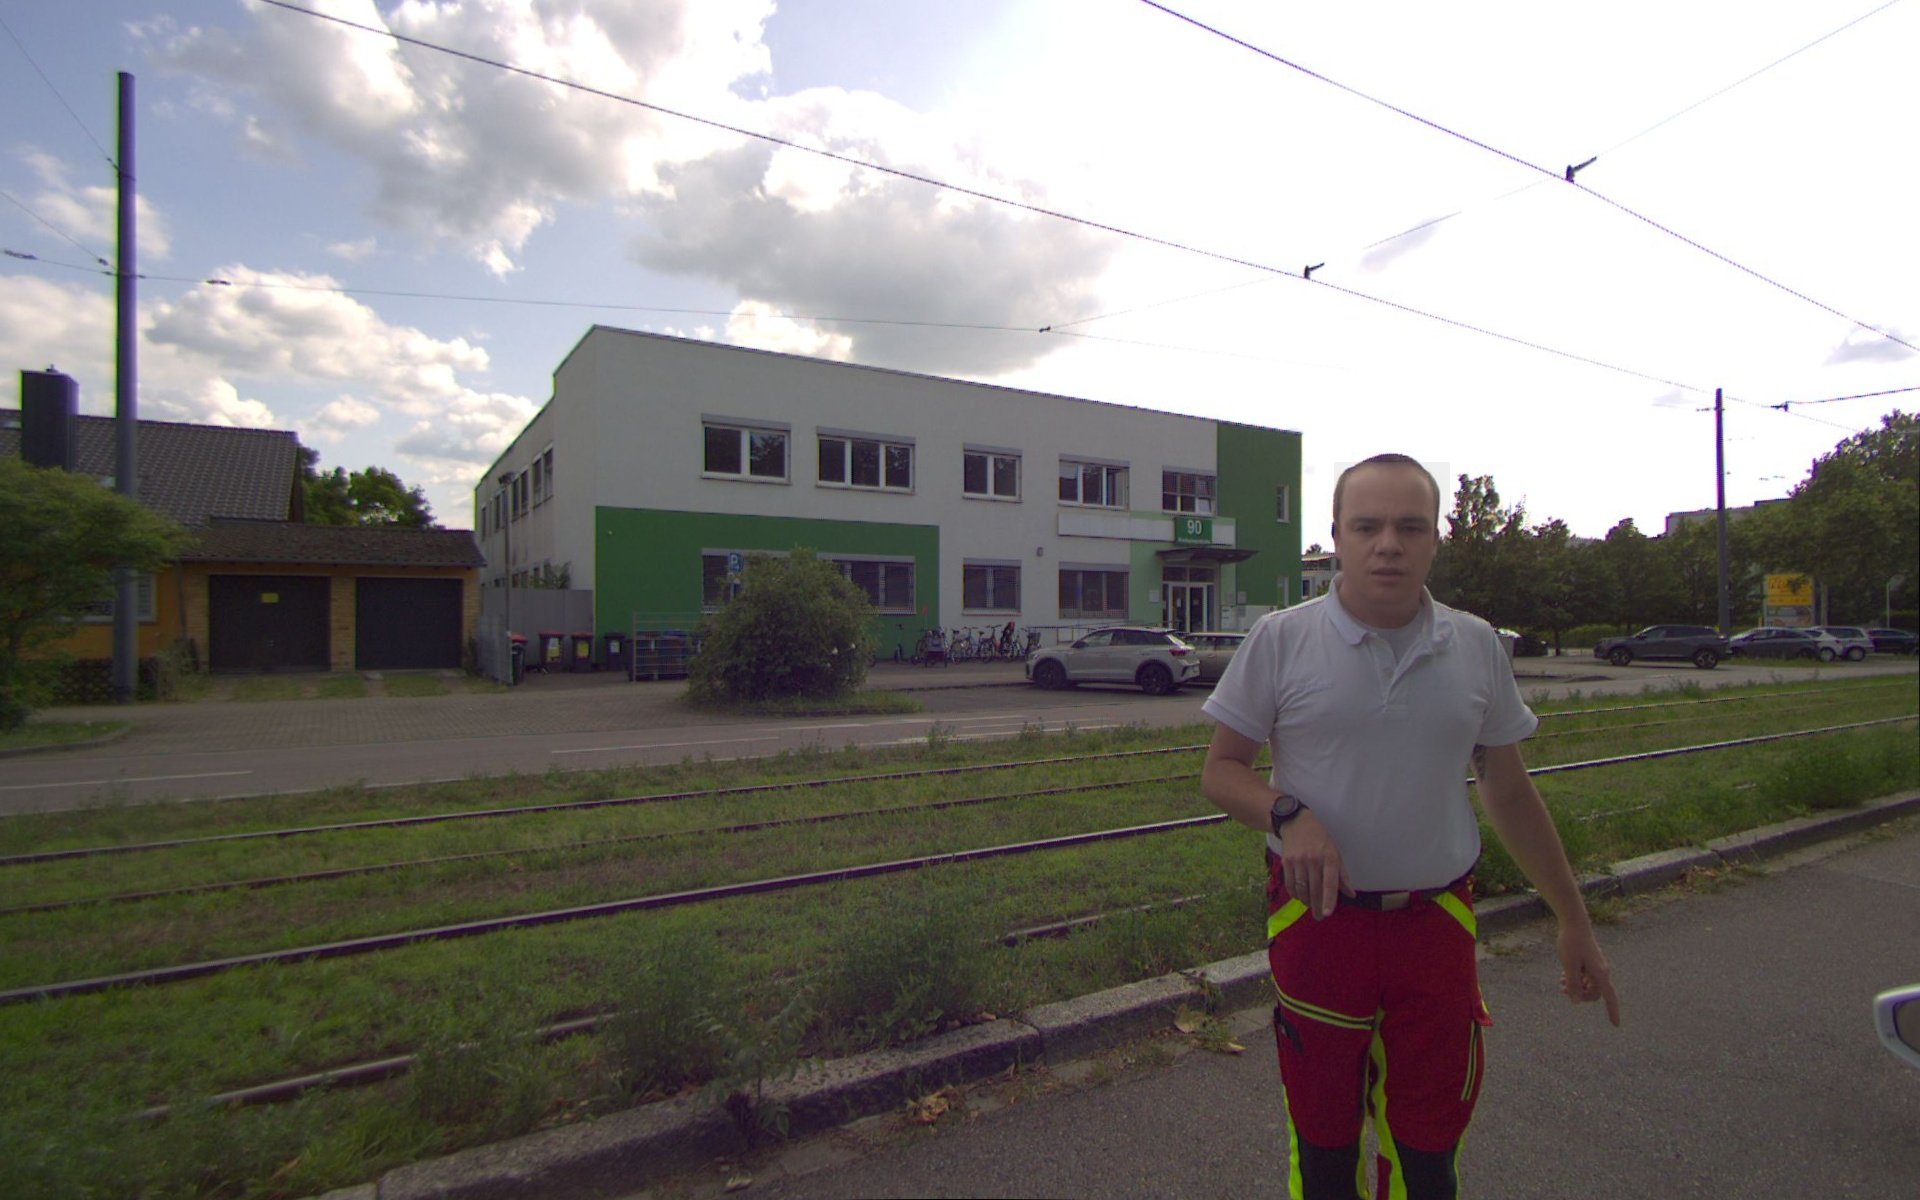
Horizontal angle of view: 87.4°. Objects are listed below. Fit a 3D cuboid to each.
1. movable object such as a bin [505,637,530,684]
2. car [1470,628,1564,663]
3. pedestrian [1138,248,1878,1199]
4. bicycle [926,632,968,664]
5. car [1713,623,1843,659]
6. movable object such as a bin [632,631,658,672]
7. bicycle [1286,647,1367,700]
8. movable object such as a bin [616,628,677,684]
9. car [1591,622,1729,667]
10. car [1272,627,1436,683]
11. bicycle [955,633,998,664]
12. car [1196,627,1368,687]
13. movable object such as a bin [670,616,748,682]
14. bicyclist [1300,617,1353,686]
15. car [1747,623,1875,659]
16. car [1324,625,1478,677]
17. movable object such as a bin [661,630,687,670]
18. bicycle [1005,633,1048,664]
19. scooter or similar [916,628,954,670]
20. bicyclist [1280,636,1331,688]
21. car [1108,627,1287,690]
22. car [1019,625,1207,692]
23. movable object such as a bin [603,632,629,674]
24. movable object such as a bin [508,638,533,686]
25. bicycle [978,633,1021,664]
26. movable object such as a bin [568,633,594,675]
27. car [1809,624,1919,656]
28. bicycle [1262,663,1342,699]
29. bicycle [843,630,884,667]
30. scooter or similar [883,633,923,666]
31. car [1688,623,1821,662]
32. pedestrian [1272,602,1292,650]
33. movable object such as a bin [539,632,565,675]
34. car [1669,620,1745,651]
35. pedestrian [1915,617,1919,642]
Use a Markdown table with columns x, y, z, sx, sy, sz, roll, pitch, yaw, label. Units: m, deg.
| x | y | z | sx | sy | sz | roll | pitch | yaw | label |
| --- | --- | --- | --- | --- | --- | --- | --- | --- | --- |
| -10.404 | 1.416 | 23.622 | 0.474 | 1.056 | 0.491 | 0 | 1 | -31 | movable object such as a bin |
| 29.201 | 2.373 | 52.773 | 1.755 | 1.586 | 3.970 | 2 | 0 | -28 | car |
| 0.829 | 0.411 | 1.764 | 0.791 | 1.709 | 0.850 | 1 | 0 | -7 | pedestrian |
| -0.424 | 1.515 | 31.717 | 0.453 | 0.911 | 1.848 | 2 | 0 | -30 | bicycle |
| 36.747 | 1.818 | 45.278 | 4.154 | 1.501 | 1.882 | 1 | -1 | 23 | car |
| -8.540 | 1.394 | 27.257 | 0.558 | 1.056 | 0.565 | 0 | 1 | -31 | movable object such as a bin |
| 8.088 | 1.610 | 22.155 | 1.781 | 1.094 | 0.643 | 1 | -1 | -27 | bicycle |
| -7.544 | 1.323 | 24.140 | 1.241 | 1.251 | 1.001 | 0 | 1 | -29 | movable object such as a bin |
| 26.205 | 1.631 | 37.758 | 4.164 | 1.501 | 1.878 | 1 | -1 | 34 | car |
| 11.302 | 1.526 | 28.870 | 4.160 | 1.501 | 1.880 | -1 | -2 | 30 | car |
| 0.523 | 1.546 | 32.338 | 0.453 | 0.911 | 1.848 | 2 | 0 | -30 | bicycle |
| 8.740 | 1.510 | 27.327 | 4.160 | 1.501 | 1.880 | -1 | -2 | 30 | car |
| -6.230 | 1.186 | 24.901 | 1.691 | 1.540 | 1.001 | 0 | 1 | -29 | movable object such as a bin |
| 8.078 | 1.124 | 22.140 | 0.916 | 1.477 | 0.621 | 1 | -1 | -27 | bicyclist |
| 39.400 | 1.870 | 46.643 | 4.154 | 1.501 | 1.882 | 1 | -1 | 23 | car |
| 13.569 | 1.540 | 30.945 | 4.160 | 1.501 | 1.880 | -1 | -2 | 30 | car |
| -7.878 | 1.374 | 27.649 | 0.558 | 1.056 | 0.565 | 0 | 1 | -31 | movable object such as a bin |
| 2.194 | 1.594 | 33.314 | 0.453 | 0.911 | 1.848 | 2 | 0 | -30 | bicycle |
| -0.739 | 1.433 | 29.652 | 1.073 | 1.171 | 1.306 | 2 | 0 | -2 | scooter or similar |
| 7.846 | 1.393 | 22.801 | 0.916 | 1.127 | 0.637 | 1 | -1 | -26 | bicyclist |
| 6.118 | 1.466 | 25.945 | 4.160 | 1.501 | 1.880 | -1 | -2 | 30 | car |
| 3.696 | 1.376 | 24.277 | 4.155 | 1.501 | 1.882 | -1 | -2 | 25 | car |
| -9.199 | 1.411 | 26.884 | 0.558 | 1.056 | 0.565 | 0 | 1 | -31 | movable object such as a bin |
| -10.125 | 1.422 | 23.140 | 0.476 | 1.056 | 0.502 | 0 | 1 | -31 | movable object such as a bin |
| 1.283 | 1.572 | 32.802 | 0.453 | 0.911 | 1.848 | 2 | 0 | -30 | bicycle |
| -9.954 | 1.403 | 26.386 | 0.558 | 1.056 | 0.565 | 0 | 1 | -31 | movable object such as a bin |
| 46.188 | 2.030 | 51.097 | 4.151 | 1.501 | 1.883 | 1 | -1 | 19 | car |
| 7.752 | 1.828 | 22.753 | 1.781 | 0.727 | 0.643 | 1 | -1 | -27 | bicycle |
| -2.904 | 1.431 | 30.049 | 0.453 | 0.999 | 1.848 | 2 | 0 | -30 | bicycle |
| -1.769 | 1.527 | 31.027 | 0.453 | 0.911 | 1.726 | 2 | 0 | -30 | scooter or similar |
| 34.390 | 1.808 | 43.605 | 4.154 | 1.501 | 1.882 | 1 | -1 | 23 | car |
| 12.649 | 1.013 | 39.460 | 0.503 | 1.852 | 0.543 | 1 | -1 | -33 | pedestrian |
| -10.562 | 1.374 | 25.985 | 0.558 | 1.056 | 0.565 | 0 | 1 | -31 | movable object such as a bin |
| 48.525 | 2.283 | 65.366 | 1.960 | 1.773 | 4.000 | 1 | 0 | 0 | car |
| 66.339 | 2.041 | 69.366 | 0.597 | 1.699 | 0.463 | 1 | -1 | -33 | pedestrian |
